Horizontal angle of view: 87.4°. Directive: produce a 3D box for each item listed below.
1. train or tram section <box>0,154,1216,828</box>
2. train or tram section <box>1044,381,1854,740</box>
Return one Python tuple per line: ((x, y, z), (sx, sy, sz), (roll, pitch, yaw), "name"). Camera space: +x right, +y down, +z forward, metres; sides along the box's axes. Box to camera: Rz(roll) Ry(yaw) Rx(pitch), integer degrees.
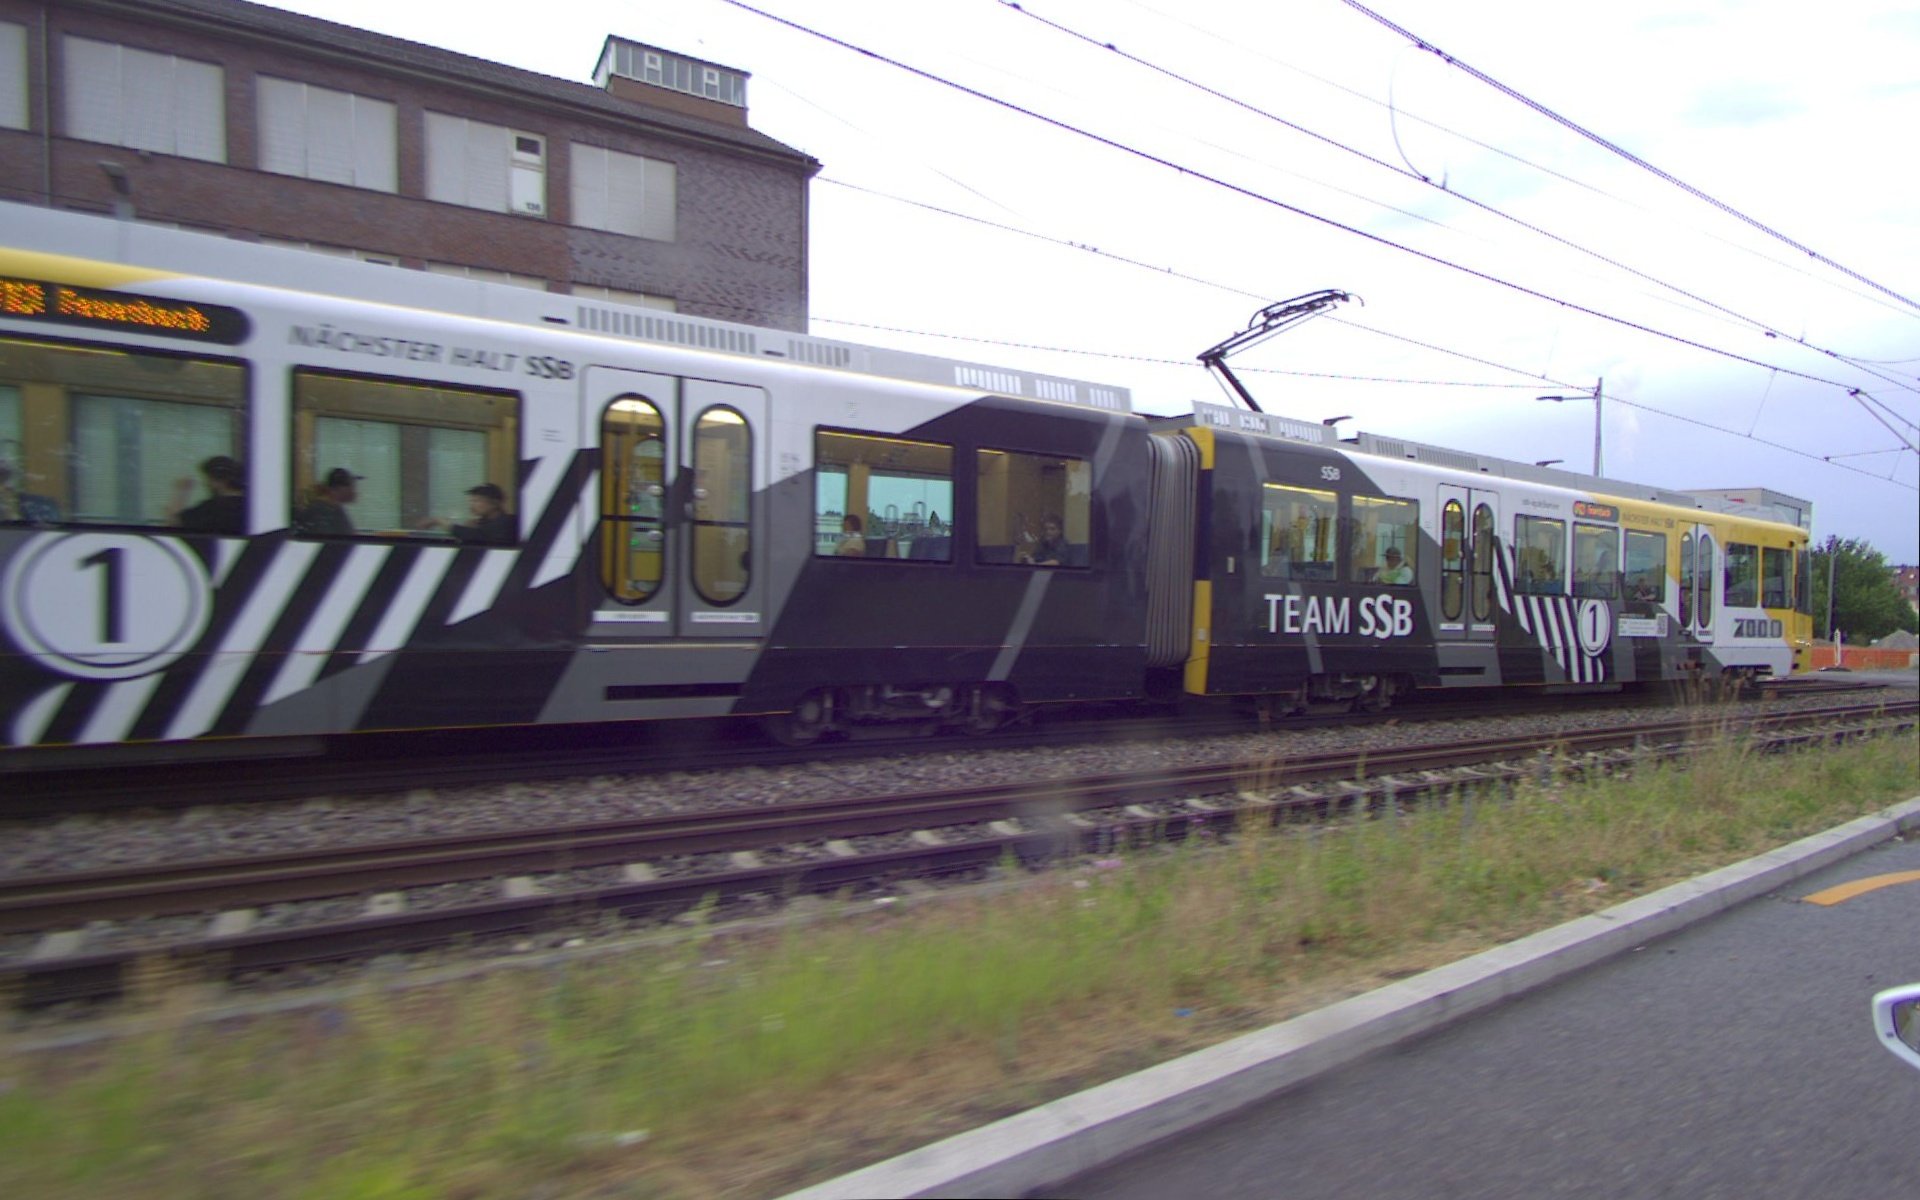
((-6.273, -0.684, 7.211), (19.350, 3.938, 2.939), (1, 2, -32), "train or tram section")
((10.015, -0.306, 17.418), (19.078, 3.938, 2.938), (1, 2, -33), "train or tram section")
